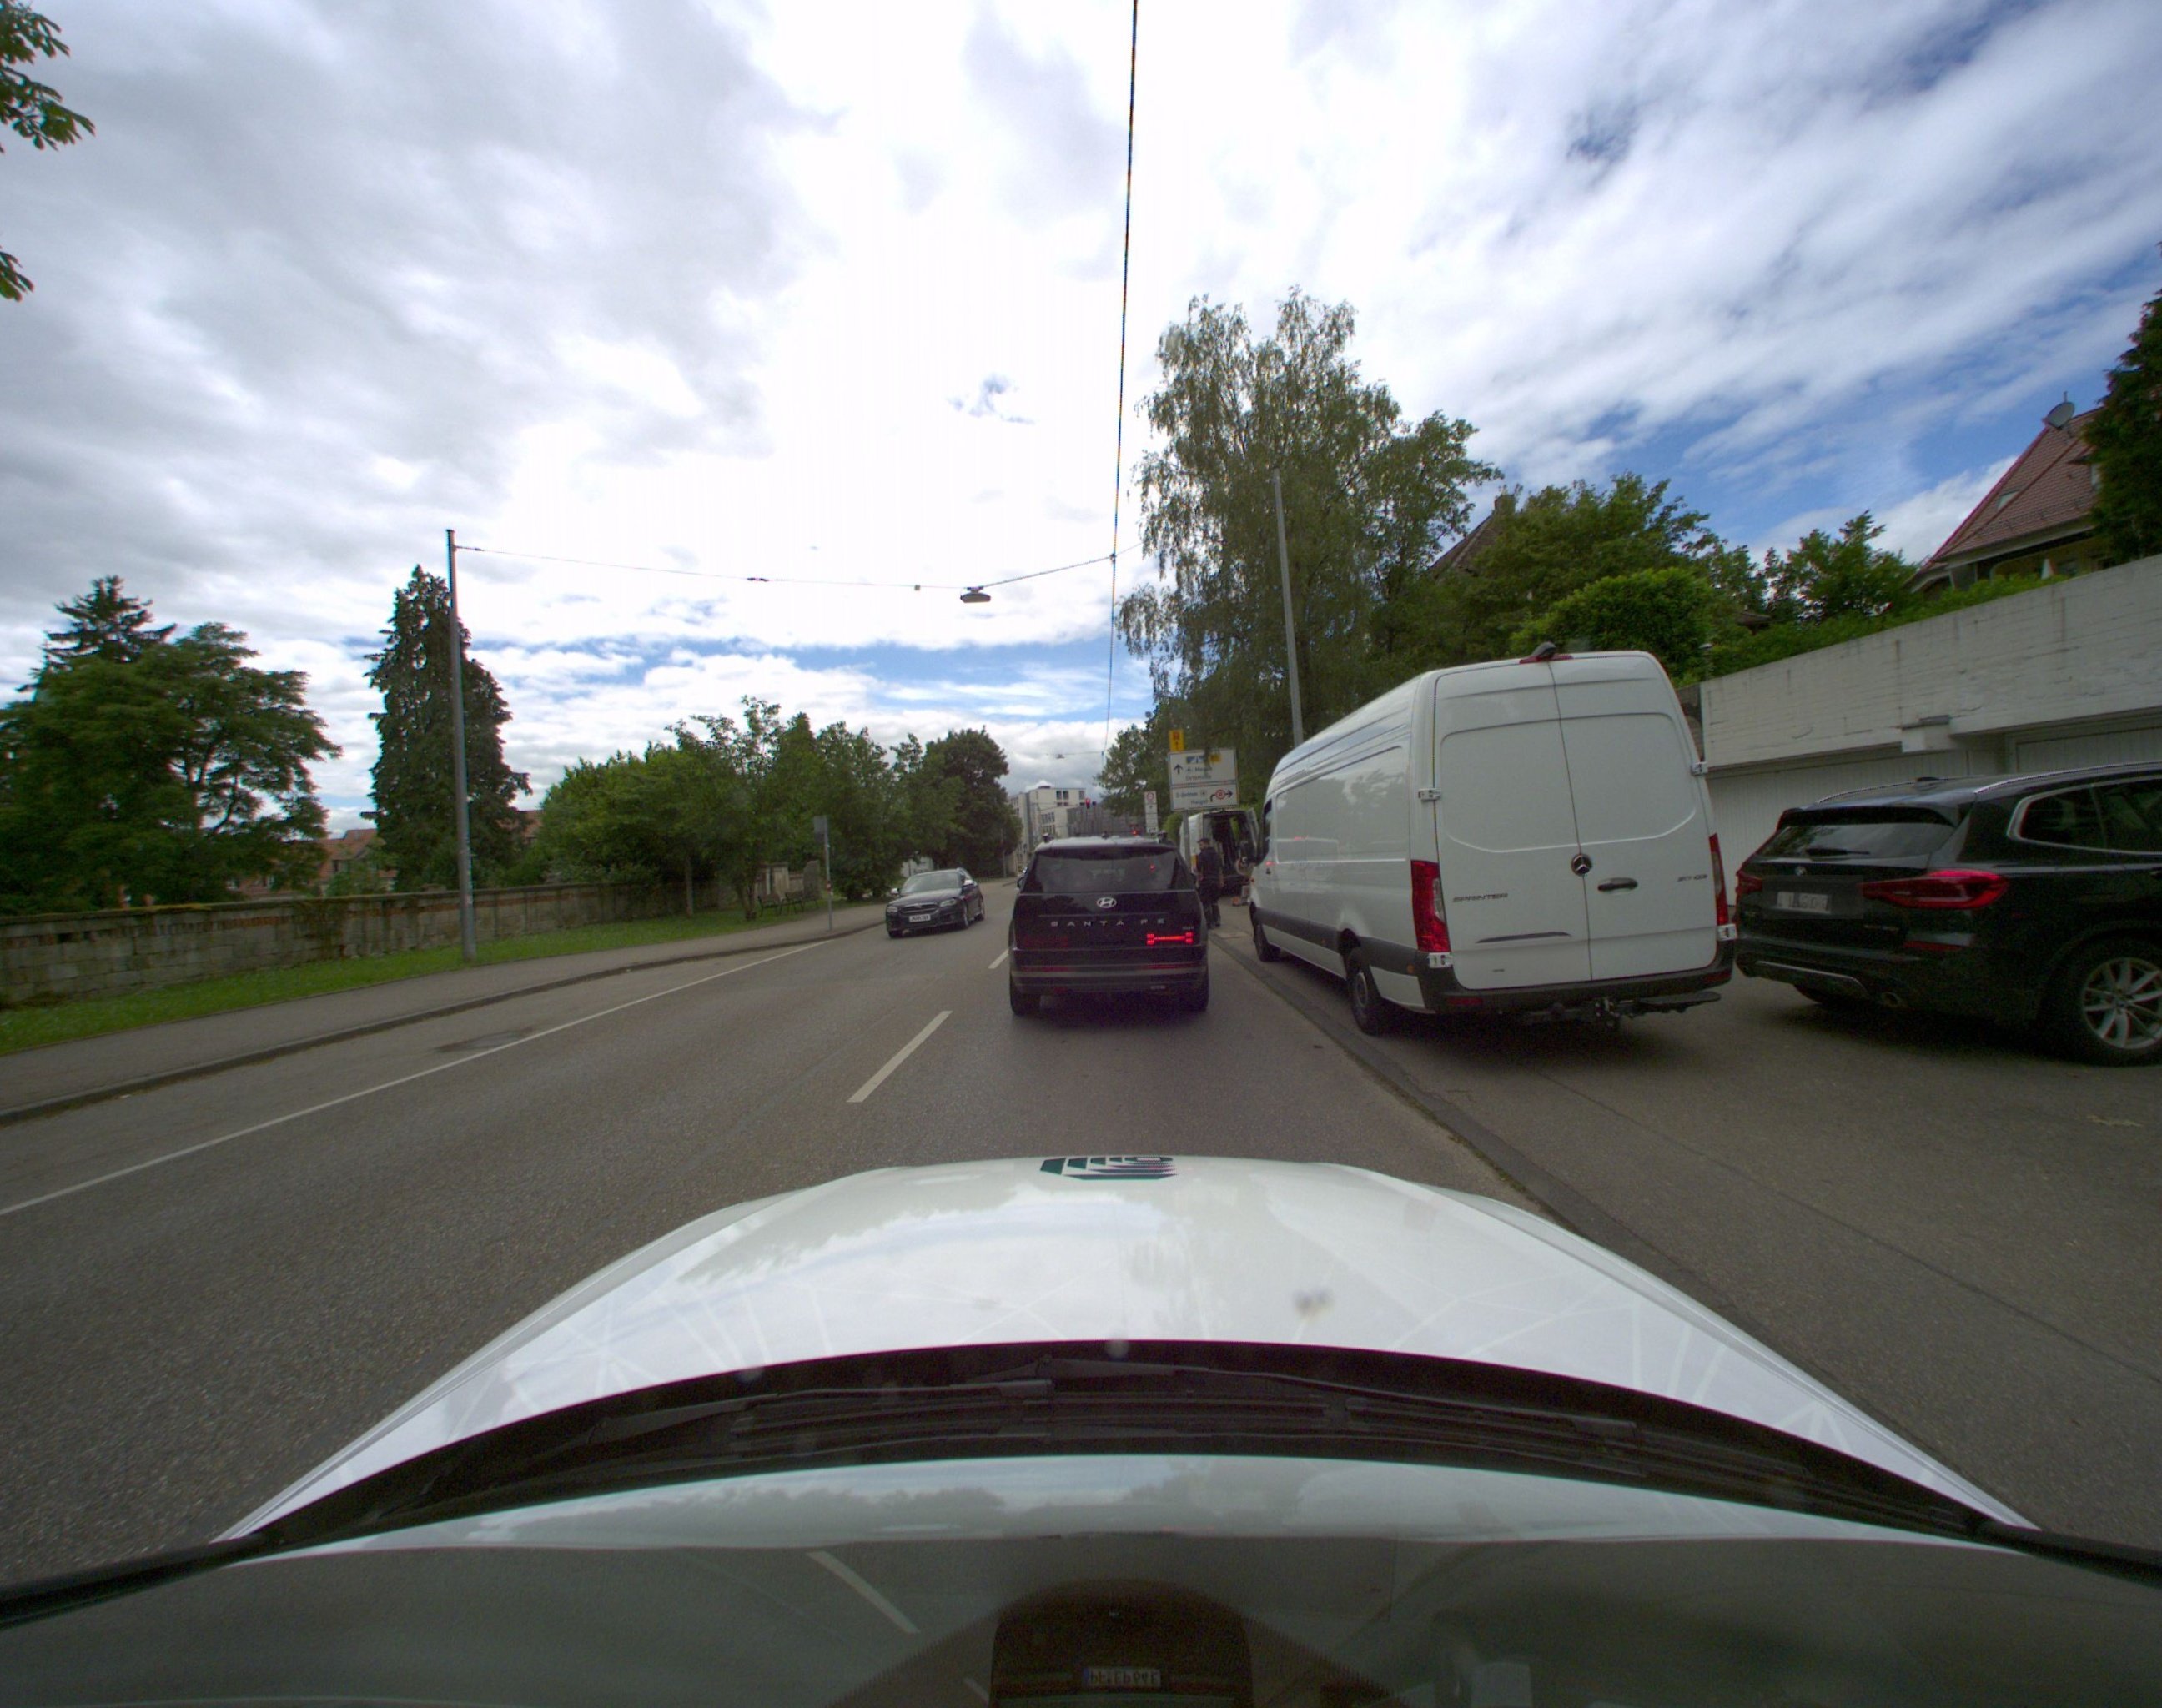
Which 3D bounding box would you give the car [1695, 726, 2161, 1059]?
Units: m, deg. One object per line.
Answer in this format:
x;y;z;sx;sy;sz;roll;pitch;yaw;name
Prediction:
6.863;0.131;5.224;4.398;1.750;1.739;-3;0;3;car

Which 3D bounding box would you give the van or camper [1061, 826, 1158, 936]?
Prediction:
0.616;0.515;17.608;1.748;2.013;4.002;-3;0;2;van or camper

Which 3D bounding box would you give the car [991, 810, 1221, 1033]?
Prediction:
0.271;0.569;8.813;1.883;1.819;4.002;-2;0;2;car

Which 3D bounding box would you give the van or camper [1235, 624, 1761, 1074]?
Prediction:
3.134;-0.026;8.194;1.986;2.620;6.543;-3;0;2;van or camper

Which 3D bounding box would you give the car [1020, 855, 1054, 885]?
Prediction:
-2.717;0.967;51.320;1.779;1.653;4.120;-6;0;0;car

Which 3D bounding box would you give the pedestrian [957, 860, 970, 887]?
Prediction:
-7.588;1.266;52.675;0.737;1.715;0.791;-3;0;-5;pedestrian

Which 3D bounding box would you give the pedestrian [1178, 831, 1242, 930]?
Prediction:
2.477;0.501;15.743;0.759;1.797;0.867;-5;-1;-17;pedestrian

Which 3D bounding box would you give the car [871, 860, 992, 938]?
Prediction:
-3.406;0.975;19.379;1.852;1.453;4.112;-6;0;2;car

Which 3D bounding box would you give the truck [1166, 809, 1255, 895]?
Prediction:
4.324;-0.033;28.034;1.937;2.561;5.213;-5;-1;-1;truck
